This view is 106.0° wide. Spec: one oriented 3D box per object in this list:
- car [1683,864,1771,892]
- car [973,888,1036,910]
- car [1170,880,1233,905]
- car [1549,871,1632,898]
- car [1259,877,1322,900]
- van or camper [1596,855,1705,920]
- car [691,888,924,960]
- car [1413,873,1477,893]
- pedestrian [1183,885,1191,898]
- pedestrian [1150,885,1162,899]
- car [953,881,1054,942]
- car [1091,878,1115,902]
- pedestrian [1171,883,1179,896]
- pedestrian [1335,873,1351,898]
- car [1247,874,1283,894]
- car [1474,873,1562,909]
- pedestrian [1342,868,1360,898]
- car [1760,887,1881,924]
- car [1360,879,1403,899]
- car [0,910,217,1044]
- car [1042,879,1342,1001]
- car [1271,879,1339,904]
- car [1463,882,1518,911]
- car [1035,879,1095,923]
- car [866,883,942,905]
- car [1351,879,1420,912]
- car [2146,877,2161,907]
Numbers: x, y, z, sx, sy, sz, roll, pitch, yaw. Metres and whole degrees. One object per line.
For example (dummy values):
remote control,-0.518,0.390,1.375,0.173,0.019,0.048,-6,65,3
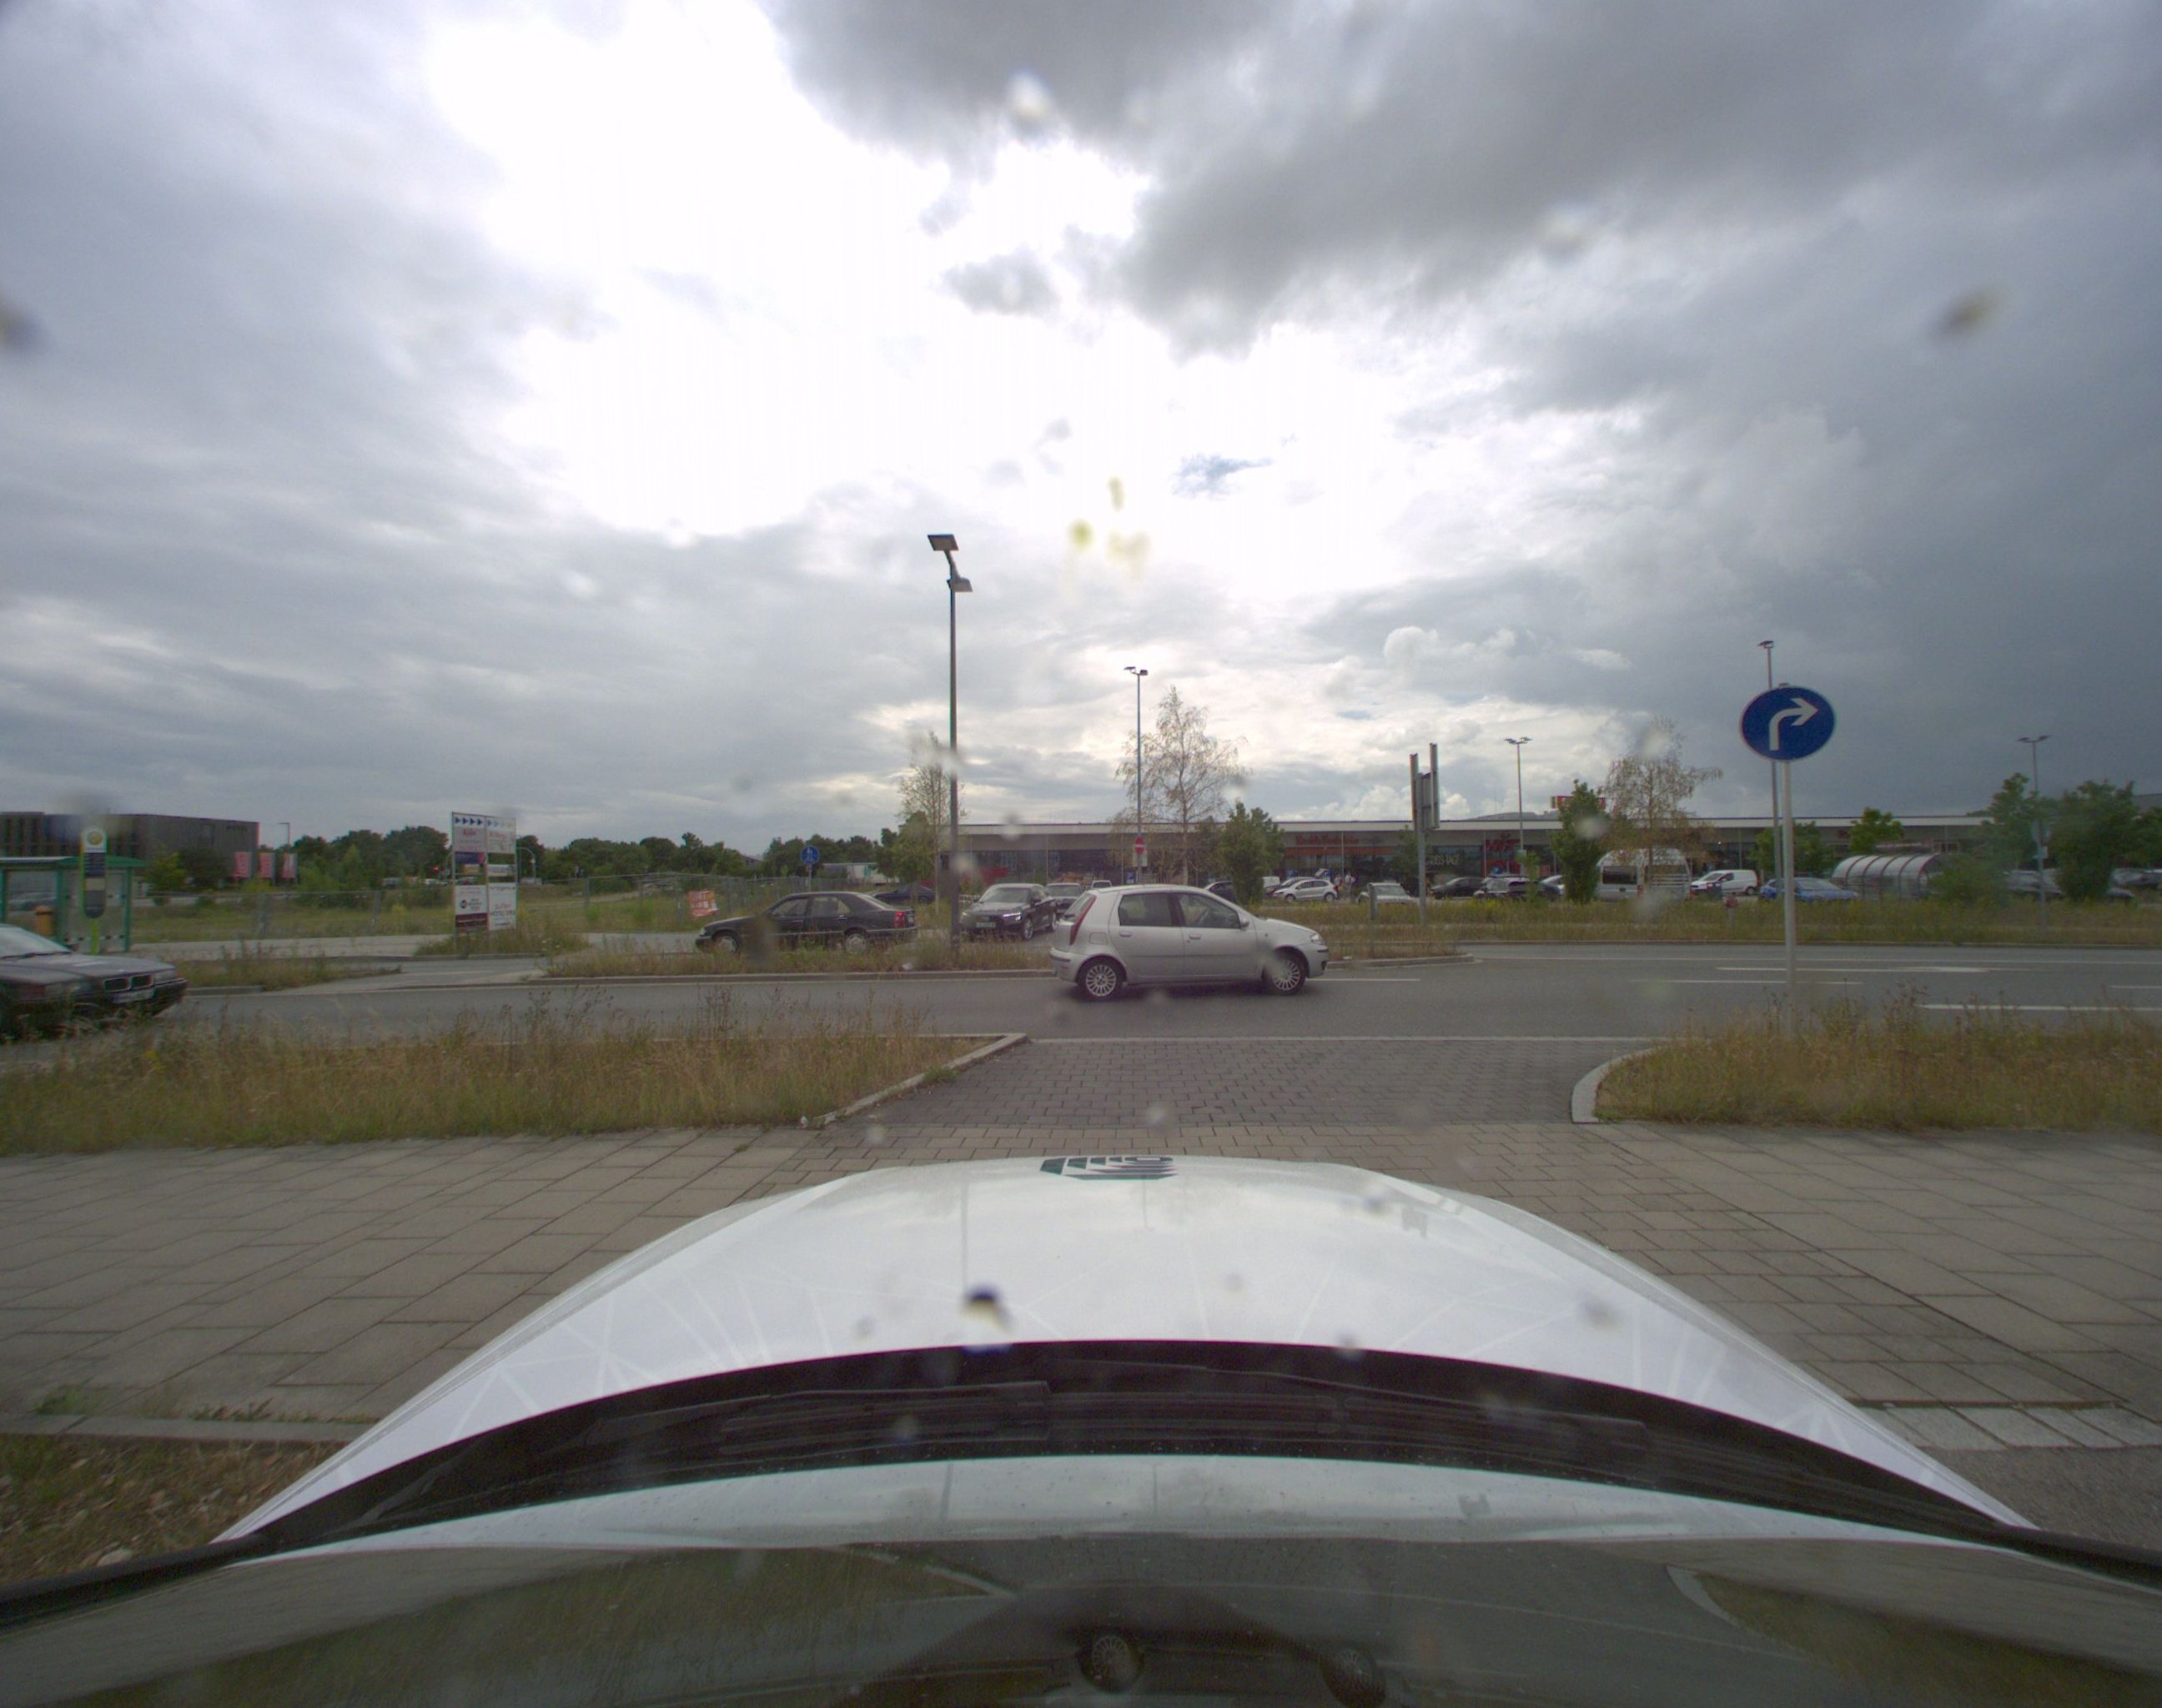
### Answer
car,43.389,1.619,54.795,4.404,1.819,1.997,0,-2,-3
car,-4.869,2.868,52.307,3.978,1.352,1.997,0,-2,-3
car,7.386,2.362,50.062,3.597,1.454,1.666,-1,-2,-2
car,32.093,1.899,51.373,3.964,1.618,2.004,-1,-2,8
car,13.744,2.279,53.512,3.735,1.454,1.667,-1,-2,-1
van or camper,23.135,1.356,33.285,2.267,2.493,4.013,-1,-2,13
car,-5.705,1.462,17.415,4.345,1.396,1.789,-1,-3,-2
car,27.669,2.196,61.957,3.973,1.508,2.000,-1,-2,0
pedestrian,9.238,3.252,71.235,0.575,1.124,0.561,-1,-2,-4
pedestrian,6.674,3.371,72.587,0.968,1.154,1.132,-1,-2,-2
car,-1.991,1.479,22.221,1.782,1.467,4.329,-1,-2,7
car,1.745,2.793,63.153,1.817,1.700,4.236,-1,-1,2
pedestrian,8.352,3.118,72.100,0.575,1.124,0.561,-1,-2,-4
pedestrian,17.087,2.063,53.172,0.818,1.632,0.900,0,-3,5
car,14.403,2.307,63.887,1.986,1.508,4.001,-1,-2,2
car,18.565,1.573,34.836,1.978,1.451,4.158,-1,-2,7
pedestrian,17.963,1.929,54.181,0.861,2.014,1.005,-1,-2,4
car,29.972,2.055,33.194,1.792,1.384,4.163,-1,-2,13
car,23.454,2.738,63.800,1.986,1.508,4.001,-1,-2,2
car,-13.514,1.439,9.751,4.277,1.387,1.757,-1,-2,-3
car,1.420,1.109,11.323,3.800,1.461,1.796,-1,-2,-7
car,13.844,2.295,50.395,3.735,1.454,1.667,-1,-2,-1
car,25.119,2.585,50.047,1.804,1.653,4.009,-1,-2,8
car,-0.501,1.657,29.396,1.772,1.446,4.613,-1,-2,3
car,-12.461,2.820,57.610,4.999,1.558,1.996,0,-2,-5
car,13.294,1.804,35.809,1.978,1.384,4.158,-1,-2,7
car,61.687,2.058,45.050,3.823,1.654,1.757,-1,-2,-10
